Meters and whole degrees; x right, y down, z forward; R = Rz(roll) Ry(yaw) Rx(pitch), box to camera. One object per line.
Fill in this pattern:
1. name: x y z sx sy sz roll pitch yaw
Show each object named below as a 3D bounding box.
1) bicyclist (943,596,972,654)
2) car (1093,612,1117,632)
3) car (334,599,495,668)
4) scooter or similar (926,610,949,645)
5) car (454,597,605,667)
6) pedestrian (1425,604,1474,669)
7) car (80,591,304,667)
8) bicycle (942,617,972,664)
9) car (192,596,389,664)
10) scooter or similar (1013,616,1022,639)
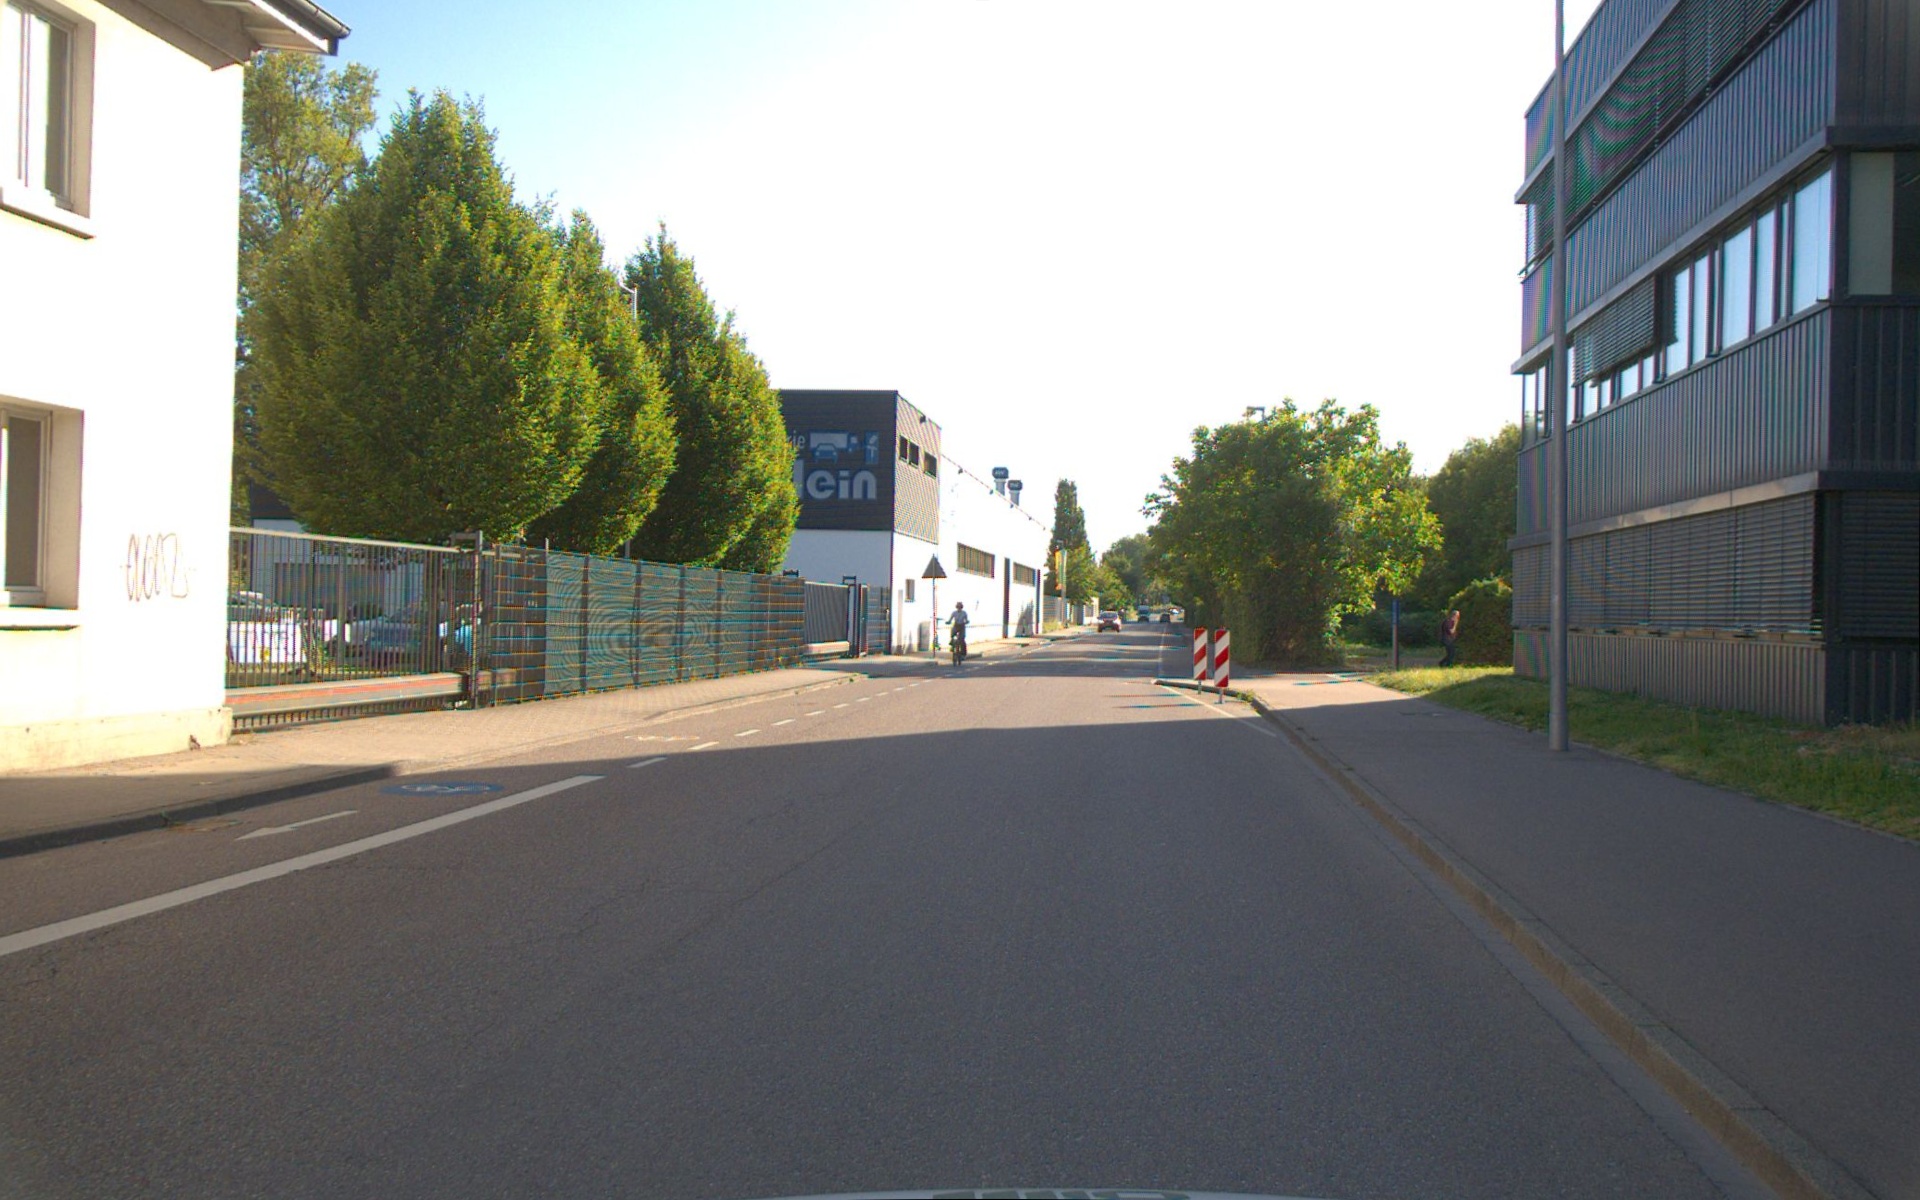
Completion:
1. bicyclist: -0.062 0.721 47.750 0.730 1.657 0.834 1 -1 5
2. car: 11.289 1.709 128.800 1.779 1.515 4.002 -3 -1 5
3. car: -12.550 0.752 38.305 1.951 1.477 4.003 1 0 8
4. scooter or similar: -0.815 1.000 60.821 0.496 1.224 1.754 4 0 7
5. car: -9.811 0.717 38.030 1.951 1.477 4.003 1 0 8
6. pedestrian: 14.167 1.041 47.924 1.128 1.824 0.896 -2 -1 3
7. car: -16.230 0.605 35.034 3.902 1.567 1.877 0 -1 8
8. bicycle: -0.080 1.153 47.749 0.653 1.311 2.174 1 0 6
9. car: -15.846 0.707 39.224 3.902 1.567 1.877 0 -1 8
10. scooter or similar: 3.261 1.559 94.339 0.407 1.289 1.060 1 0 7
